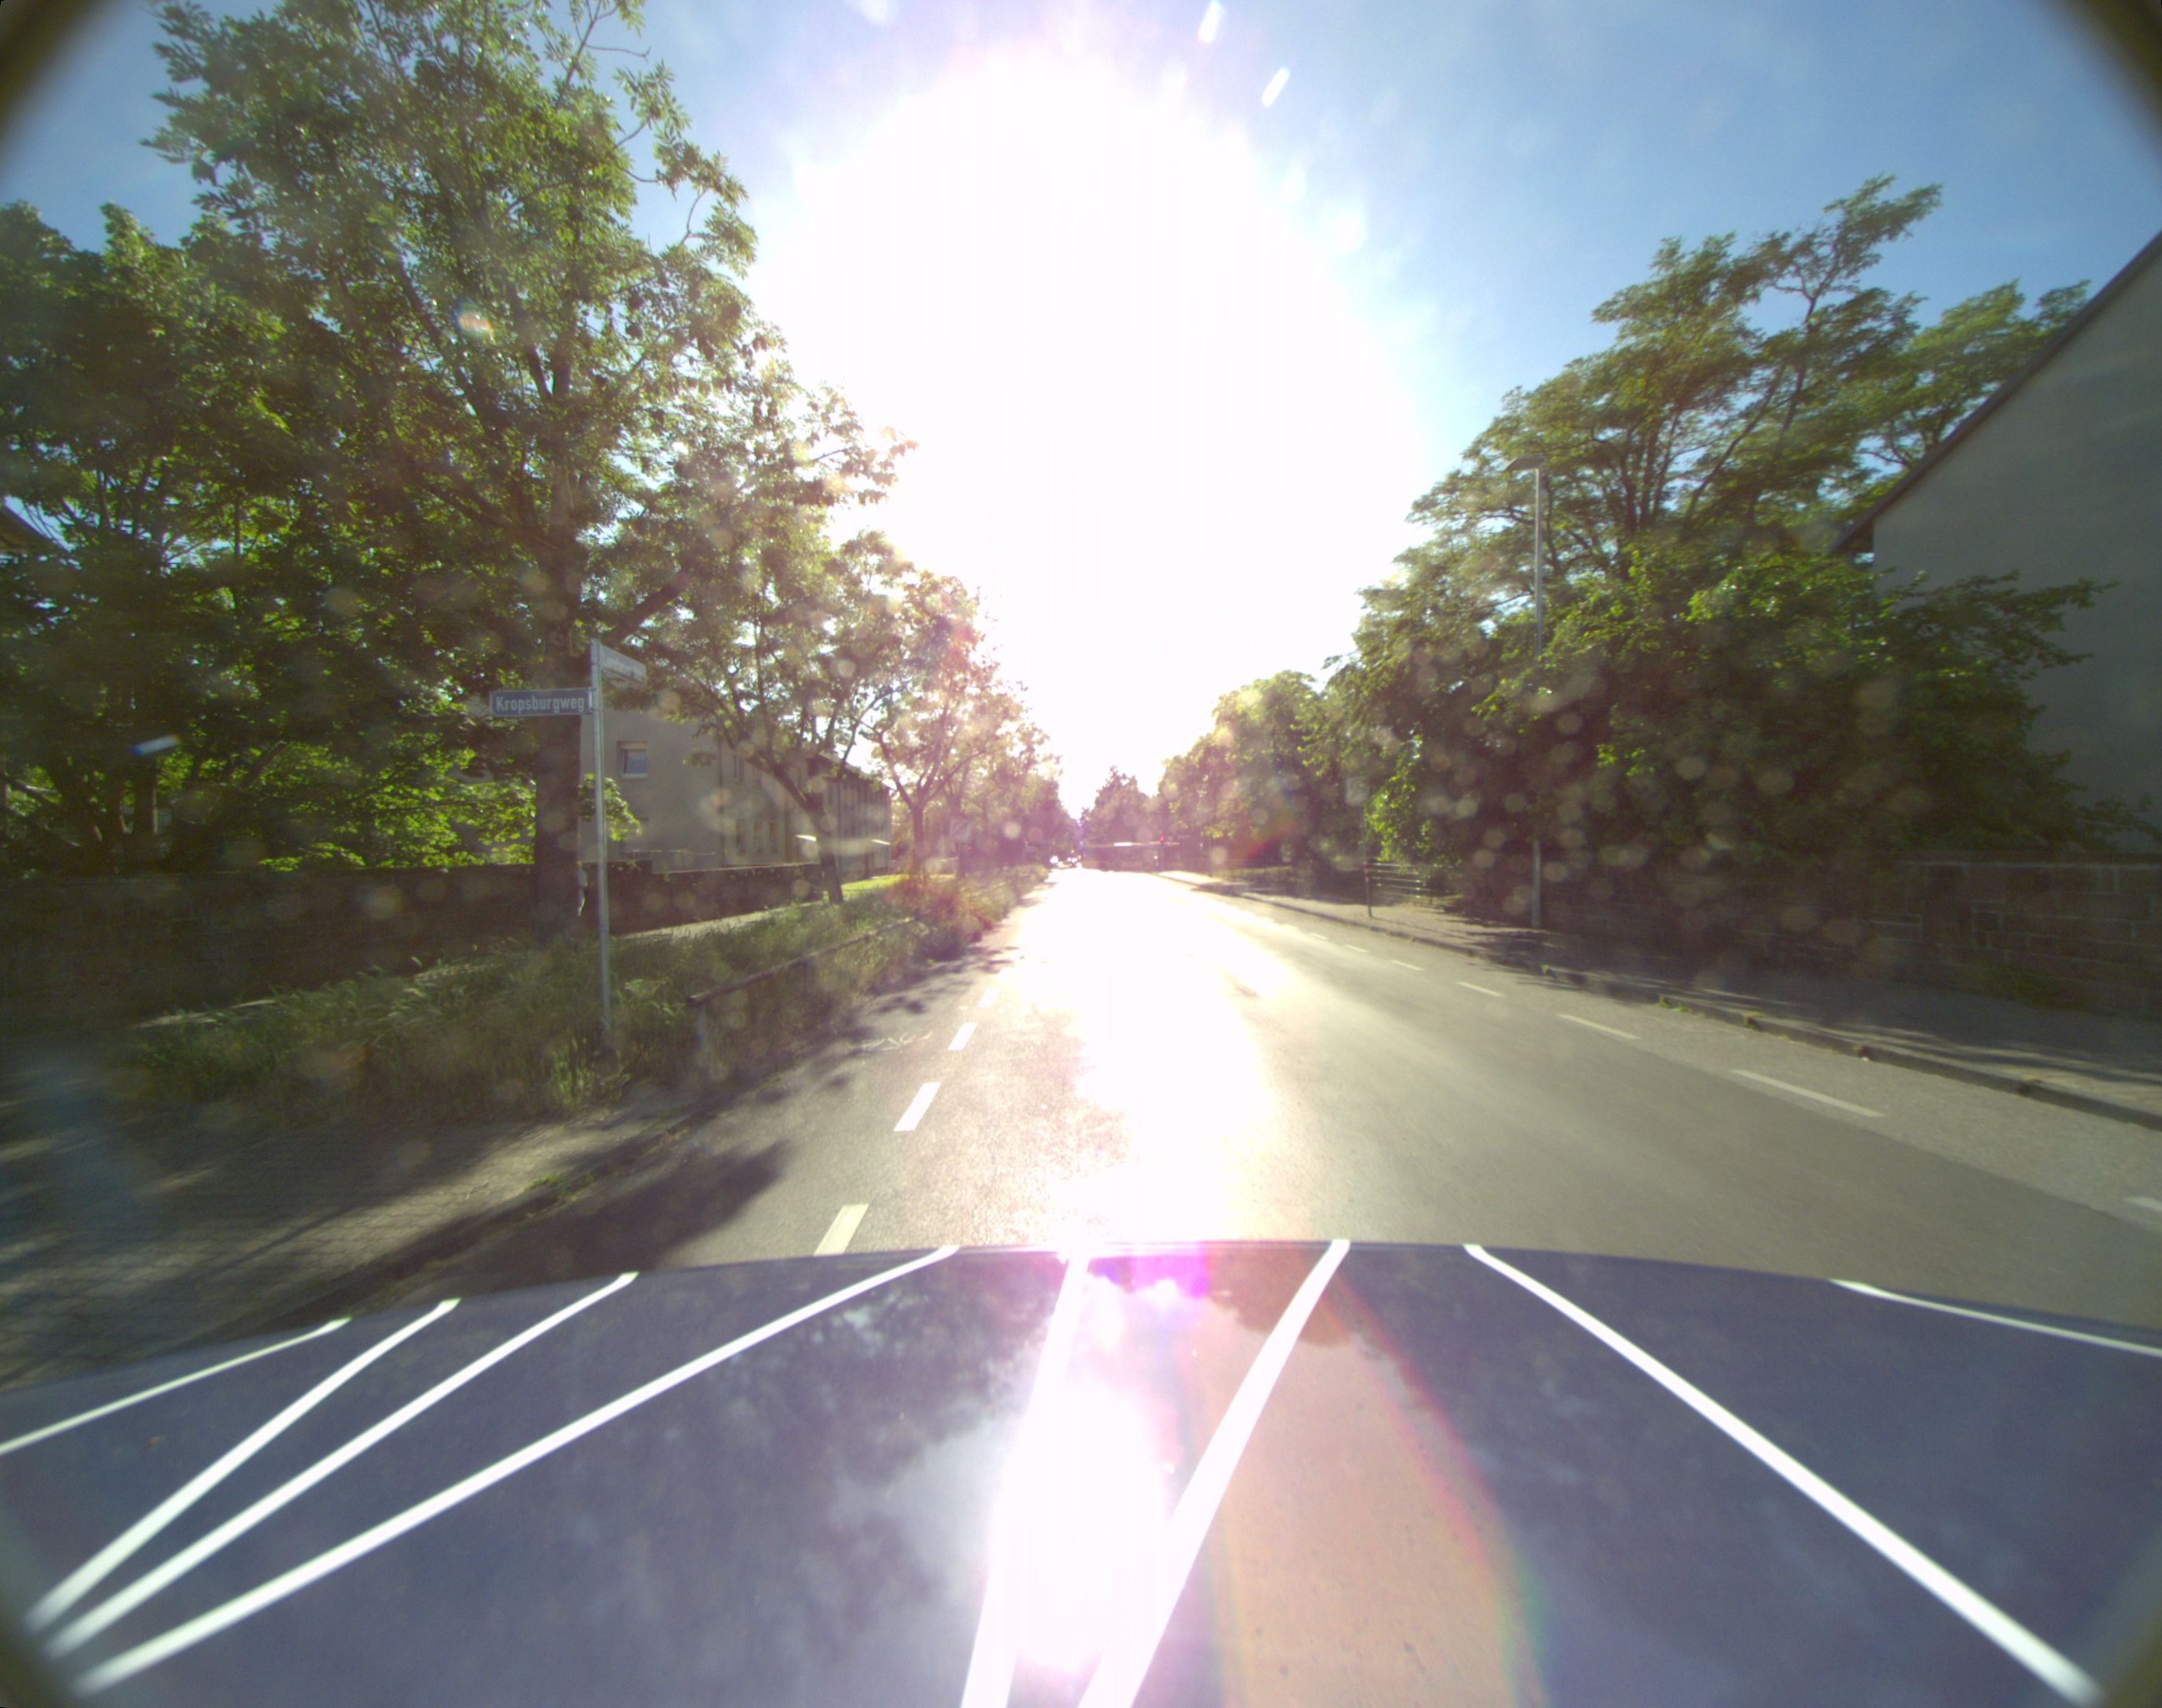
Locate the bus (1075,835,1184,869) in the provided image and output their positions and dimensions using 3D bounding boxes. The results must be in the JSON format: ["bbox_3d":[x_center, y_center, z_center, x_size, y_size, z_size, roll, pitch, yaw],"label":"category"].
[{"bbox_3d":[4.934,-0.111,80.819,12.446,3.080,3.137,-3,-1,44],"label":"bus"}]

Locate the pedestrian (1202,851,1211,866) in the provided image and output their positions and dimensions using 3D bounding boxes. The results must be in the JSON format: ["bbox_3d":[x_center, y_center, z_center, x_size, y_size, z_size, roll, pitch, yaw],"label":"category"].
[{"bbox_3d":[14.139,0.494,85.423,0.800,1.624,0.647,-3,0,0],"label":"pedestrian"}]

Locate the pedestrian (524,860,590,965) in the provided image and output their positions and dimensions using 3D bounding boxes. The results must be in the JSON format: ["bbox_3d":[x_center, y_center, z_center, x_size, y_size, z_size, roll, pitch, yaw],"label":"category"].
[{"bbox_3d":[-8.752,0.965,12.702,0.638,1.696,0.612,1,0,-1],"label":"pedestrian"}]
